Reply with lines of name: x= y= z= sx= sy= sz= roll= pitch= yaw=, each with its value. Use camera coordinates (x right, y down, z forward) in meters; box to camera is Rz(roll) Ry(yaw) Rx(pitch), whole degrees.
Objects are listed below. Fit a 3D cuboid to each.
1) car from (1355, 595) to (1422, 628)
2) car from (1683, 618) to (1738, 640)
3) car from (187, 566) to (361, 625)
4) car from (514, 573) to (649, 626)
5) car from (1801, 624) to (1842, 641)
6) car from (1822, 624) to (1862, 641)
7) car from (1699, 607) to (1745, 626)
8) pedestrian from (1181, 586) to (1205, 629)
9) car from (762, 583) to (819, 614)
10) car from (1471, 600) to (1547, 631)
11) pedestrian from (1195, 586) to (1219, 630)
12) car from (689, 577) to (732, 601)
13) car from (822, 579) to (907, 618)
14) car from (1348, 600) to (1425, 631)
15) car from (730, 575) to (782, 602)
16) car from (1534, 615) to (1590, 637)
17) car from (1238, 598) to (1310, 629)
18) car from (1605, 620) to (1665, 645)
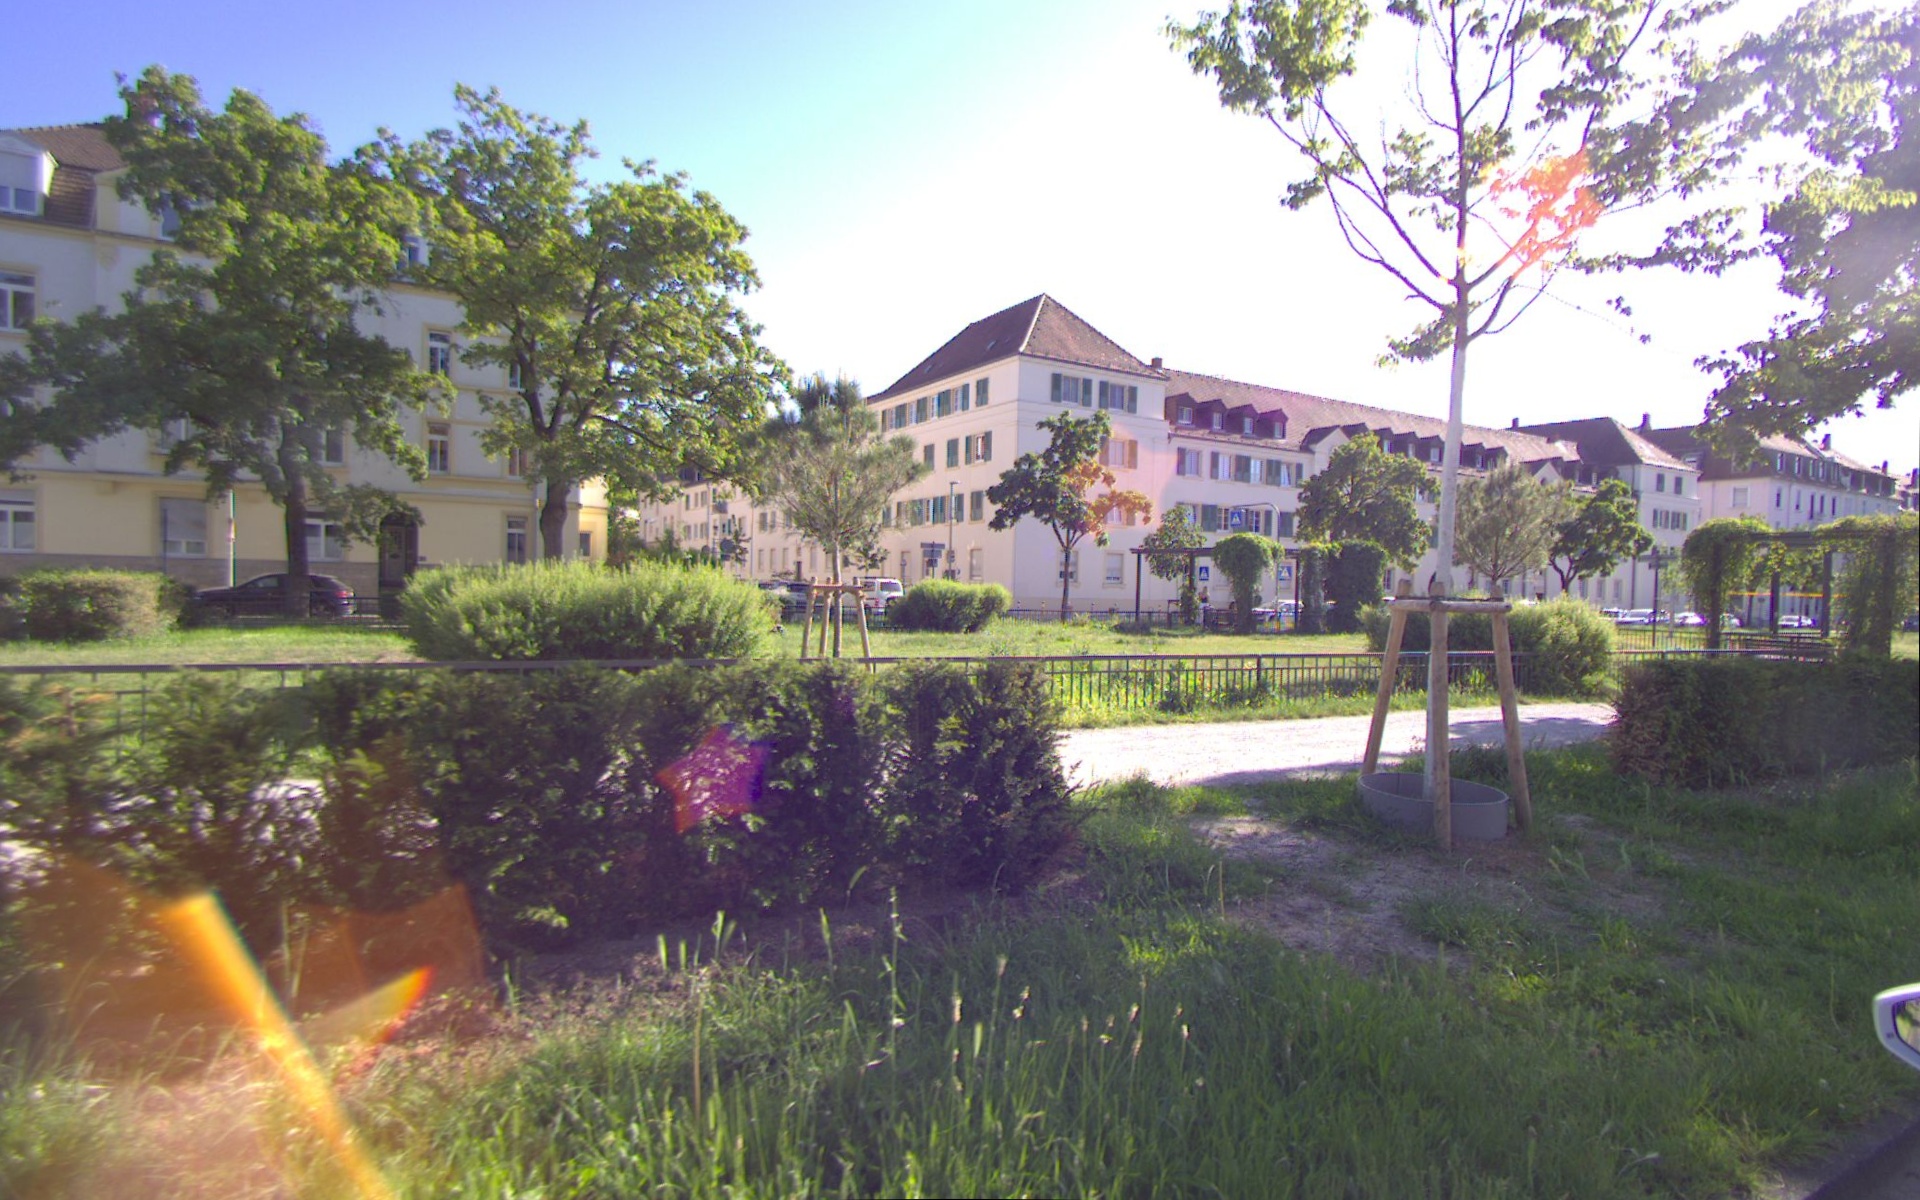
car: x=26.591 y=0.715 z=62.314 sx=3.953 sy=1.935 sz=1.785 roll=1 pitch=1 yaw=-30
car: x=54.601 y=2.101 z=73.057 sx=3.953 sy=1.530 sz=1.785 roll=1 pitch=1 yaw=-30
car: x=-21.861 y=-0.113 z=32.246 sx=4.445 sy=1.755 sz=1.785 roll=1 pitch=1 yaw=-30
car: x=-13.974 y=-0.016 z=37.173 sx=4.407 sy=1.840 sz=1.784 roll=1 pitch=1 yaw=-32
car: x=83.735 y=3.153 z=97.612 sx=4.095 sy=1.530 sz=1.785 roll=1 pitch=1 yaw=-30
car: x=88.083 y=3.226 z=100.301 sx=3.954 sy=1.530 sz=1.785 roll=1 pitch=1 yaw=-31
car: x=66.254 y=1.408 z=87.282 sx=3.953 sy=1.530 sz=1.785 roll=1 pitch=1 yaw=-30
pedestrian: x=9.377 y=0.302 z=40.461 sx=0.642 sy=1.721 sz=0.645 roll=1 pitch=0 yaw=-30
car: x=-9.289 y=-0.092 z=54.846 sx=1.779 sy=1.587 sz=3.966 roll=1 pitch=1 yaw=-31
car: x=32.685 y=0.904 z=59.772 sx=4.647 sy=1.733 sz=1.785 roll=1 pitch=1 yaw=-30
pedestrian: x=9.753 y=0.325 z=39.723 sx=0.642 sy=1.721 sz=0.645 roll=1 pitch=0 yaw=-30
car: x=-17.026 y=-0.765 z=68.408 sx=1.779 sy=1.530 sz=3.967 roll=1 pitch=1 yaw=-30
car: x=-4.448 y=-0.094 z=46.401 sx=3.945 sy=1.674 sz=1.789 roll=2 pitch=1 yaw=44
car: x=22.794 y=0.826 z=53.687 sx=3.953 sy=1.530 sz=1.785 roll=1 pitch=1 yaw=-30
car: x=-12.120 y=-0.699 z=59.505 sx=1.779 sy=1.530 sz=3.967 roll=1 pitch=1 yaw=-30
car: x=43.527 y=1.895 z=72.625 sx=3.953 sy=1.530 sz=1.785 roll=1 pitch=1 yaw=-30
car: x=17.874 y=0.786 z=57.152 sx=3.956 sy=1.633 sz=1.784 roll=1 pitch=1 yaw=-32
car: x=45.270 y=2.172 z=67.329 sx=3.953 sy=1.530 sz=1.785 roll=1 pitch=1 yaw=-30
